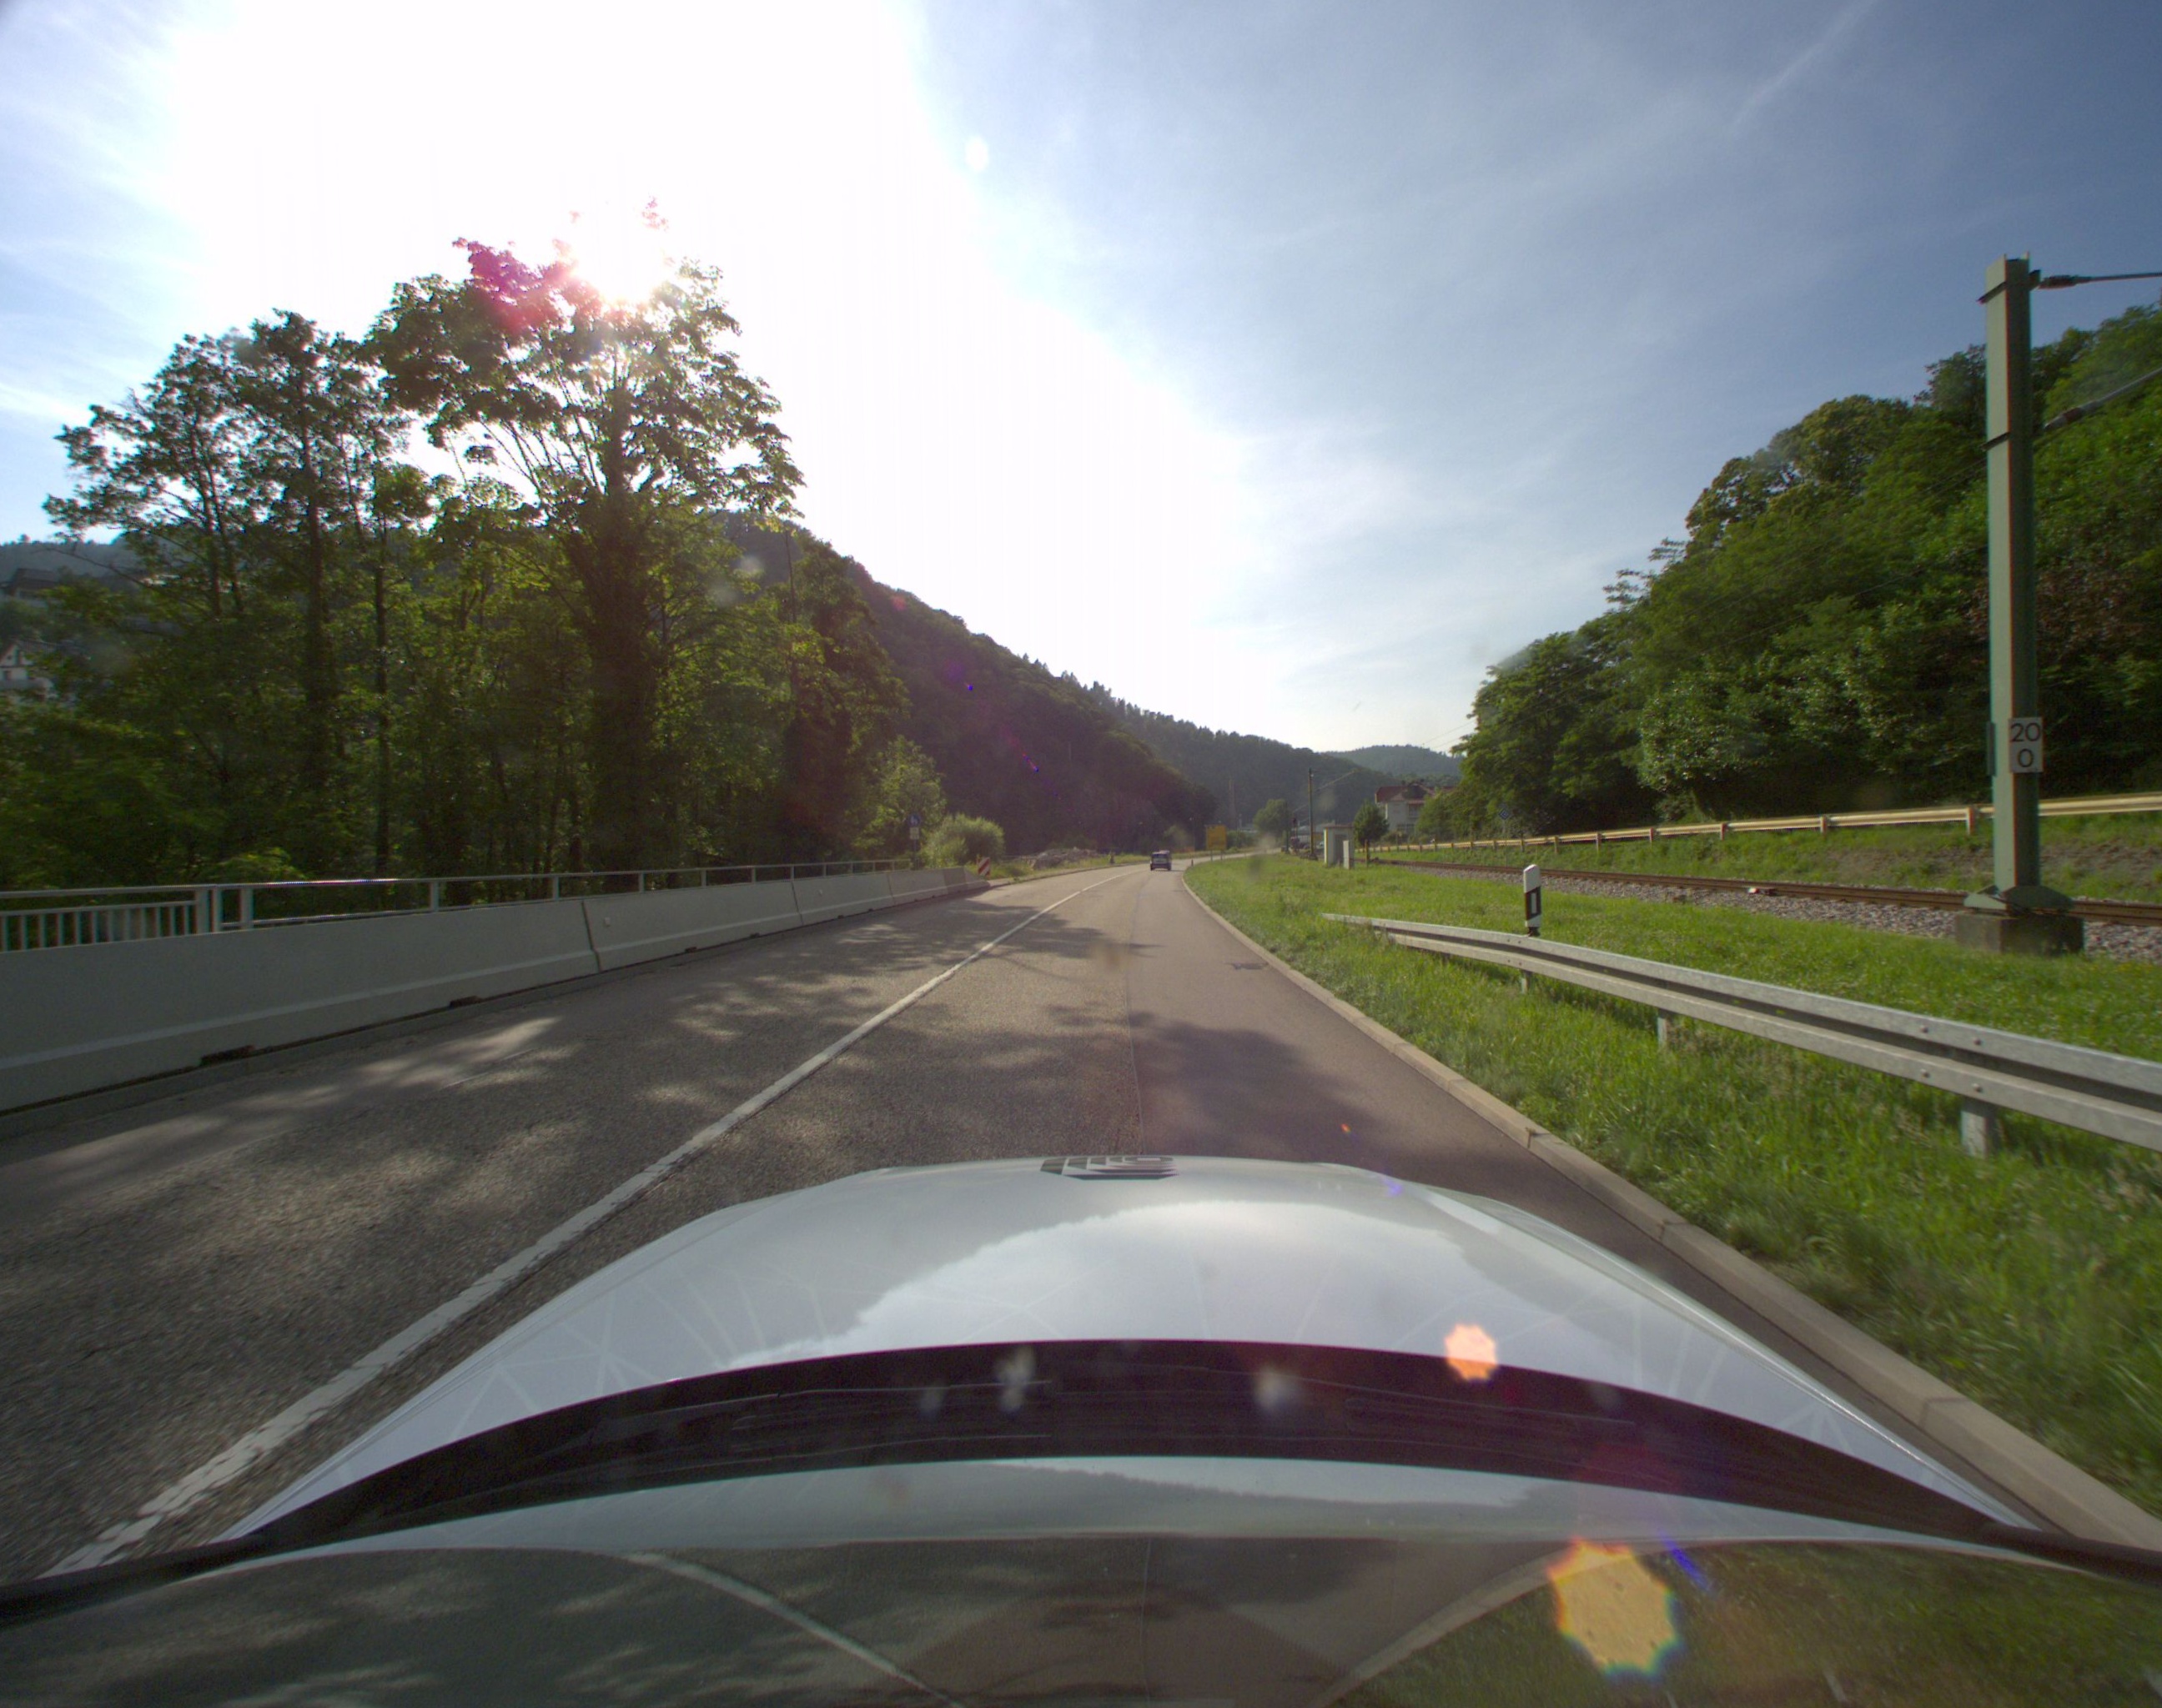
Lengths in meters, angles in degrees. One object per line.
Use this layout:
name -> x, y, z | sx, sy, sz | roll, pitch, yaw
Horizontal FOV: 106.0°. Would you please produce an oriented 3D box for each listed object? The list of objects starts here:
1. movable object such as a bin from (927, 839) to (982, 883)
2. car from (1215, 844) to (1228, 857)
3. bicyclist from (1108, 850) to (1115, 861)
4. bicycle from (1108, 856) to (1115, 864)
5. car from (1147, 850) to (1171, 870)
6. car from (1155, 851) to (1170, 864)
movable object such as a bin -> -12.305, 0.628, 80.372 | 2.685, 3.947, 10.007 | -3, 0, 6
car -> 22.586, -0.533, 131.182 | 1.982, 2.013, 4.010 | -3, 0, 9
bicyclist -> 3.444, 0.164, 92.066 | 0.680, 1.225, 0.860 | 0, 0, 7
bicycle -> 3.445, 0.634, 92.063 | 0.536, 0.881, 2.257 | 0, 0, 8
car -> 7.123, 0.517, 74.309 | 1.983, 1.723, 3.998 | -3, 0, 7
car -> 11.132, 0.449, 111.236 | 1.840, 1.784, 4.695 | 0, 0, 8
